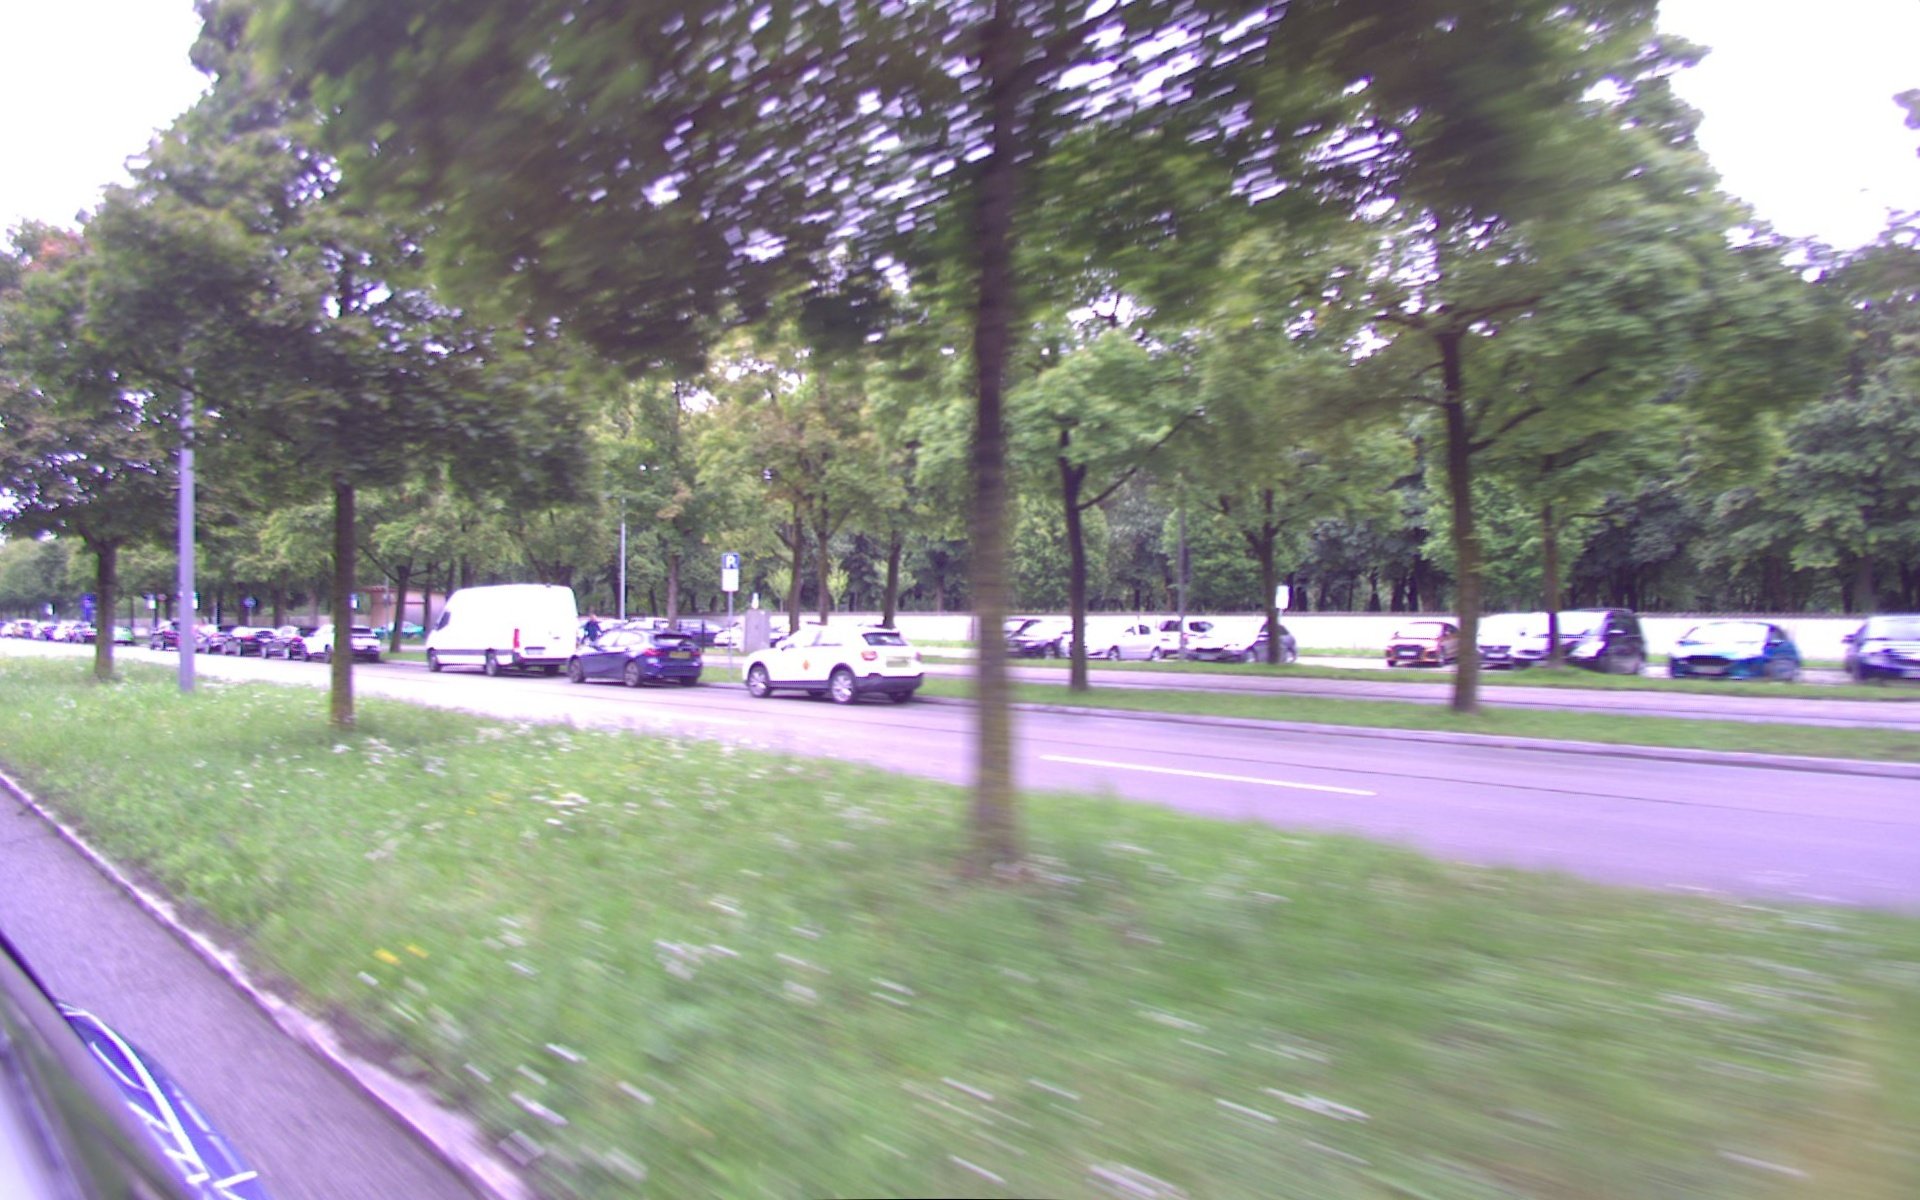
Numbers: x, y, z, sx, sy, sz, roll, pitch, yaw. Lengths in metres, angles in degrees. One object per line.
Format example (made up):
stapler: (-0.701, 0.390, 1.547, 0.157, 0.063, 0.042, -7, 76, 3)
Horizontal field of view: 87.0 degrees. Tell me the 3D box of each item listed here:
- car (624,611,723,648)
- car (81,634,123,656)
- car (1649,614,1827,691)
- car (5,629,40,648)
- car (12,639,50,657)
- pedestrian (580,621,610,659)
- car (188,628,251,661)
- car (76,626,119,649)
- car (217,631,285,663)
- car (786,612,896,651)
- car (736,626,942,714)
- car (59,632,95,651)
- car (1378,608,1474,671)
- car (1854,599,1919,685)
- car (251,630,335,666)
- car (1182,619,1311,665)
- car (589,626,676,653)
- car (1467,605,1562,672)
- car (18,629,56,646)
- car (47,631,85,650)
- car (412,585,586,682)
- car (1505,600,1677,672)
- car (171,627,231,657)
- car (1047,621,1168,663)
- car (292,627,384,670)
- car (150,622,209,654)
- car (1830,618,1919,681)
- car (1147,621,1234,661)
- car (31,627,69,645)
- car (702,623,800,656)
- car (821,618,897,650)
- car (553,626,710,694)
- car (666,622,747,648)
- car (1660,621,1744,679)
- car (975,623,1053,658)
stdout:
car: (-12.798, 1.297, 45.326, 1.814, 1.582, 3.944, -1, -2, 42)
car: (-58.661, 3.060, 69.202, 3.999, 1.511, 1.623, -2, -3, 42)
car: (16.872, 1.070, 21.899, 3.934, 1.516, 2.005, 1, -2, -36)
car: (-90.461, 3.710, 97.644, 4.529, 1.784, 1.839, -1, -3, 39)
car: (-86.020, 4.445, 93.742, 4.037, 1.628, 1.982, -1, -3, 39)
pedestrian: (-14.708, 1.598, 40.782, 0.856, 1.507, 0.786, -2, -2, 41)
car: (-37.608, 2.222, 51.370, 4.112, 1.611, 1.802, -1, -2, 42)
car: (-64.249, 2.760, 75.361, 4.454, 1.643, 1.802, -1, -2, 41)
car: (-33.521, 2.201, 47.825, 4.000, 1.420, 1.801, -1, -3, 43)
car: (-4.535, 1.188, 38.982, 3.941, 1.449, 1.816, 1, -2, -44)
car: (-2.514, 1.327, 20.532, 4.139, 1.502, 1.838, 0, 0, 40)
car: (-68.906, 3.214, 78.974, 3.686, 1.433, 1.632, -1, -4, 42)
car: (16.867, 1.372, 36.515, 1.999, 2.050, 4.460, -1, 0, 40)
car: (18.768, 0.765, 19.204, 4.293, 1.516, 2.004, 1, -2, -39)
car: (-28.713, 2.039, 43.527, 3.994, 1.459, 1.804, -1, -3, 38)
car: (8.199, 1.154, 28.776, 1.784, 1.219, 4.127, -2, -2, 44)
car: (-16.124, 1.926, 49.992, 1.686, 1.268, 3.953, -1, -1, 34)
car: (19.028, 1.261, 34.643, 1.999, 2.050, 4.460, -1, 0, 40)
car: (-82.099, 3.338, 90.016, 4.296, 1.481, 1.803, -1, -3, 39)
car: (-73.032, 3.285, 82.681, 4.258, 1.488, 1.802, -1, -4, 42)
car: (-14.296, 1.043, 31.122, 7.101, 2.664, 2.117, -2, -3, 41)
car: (14.502, 0.793, 23.215, 3.934, 1.516, 2.005, 1, -2, -36)
car: (-41.437, 2.255, 55.228, 3.807, 1.490, 1.803, 0, 0, 40)
car: (4.657, 1.273, 31.540, 1.784, 1.219, 3.942, -2, -2, 44)
car: (-24.690, 1.893, 40.137, 4.295, 1.539, 1.803, 0, -2, 40)
car: (-44.852, 2.139, 58.107, 4.236, 1.712, 1.803, 0, 0, 40)
car: (26.327, 1.370, 29.149, 1.814, 1.548, 3.947, -1, 0, 40)
car: (9.809, 1.694, 42.969, 3.941, 1.608, 1.771, 1, -2, -44)
car: (-77.276, 3.068, 85.940, 3.784, 1.457, 1.803, -1, -4, 39)
car: (-9.130, 1.703, 44.413, 1.815, 1.349, 3.943, -1, -2, 43)
car: (-5.486, 1.846, 55.380, 3.941, 1.666, 1.771, 1, -2, -44)
car: (-8.413, 1.450, 25.744, 4.248, 1.502, 1.838, 0, 0, 40)
car: (-15.423, 2.105, 61.784, 1.999, 1.453, 4.459, -1, -1, 40)
car: (22.879, 1.489, 31.146, 1.814, 1.548, 3.947, -1, 0, 40)
car: (2.642, 1.919, 48.843, 1.768, 1.608, 3.947, -1, -2, 39)
